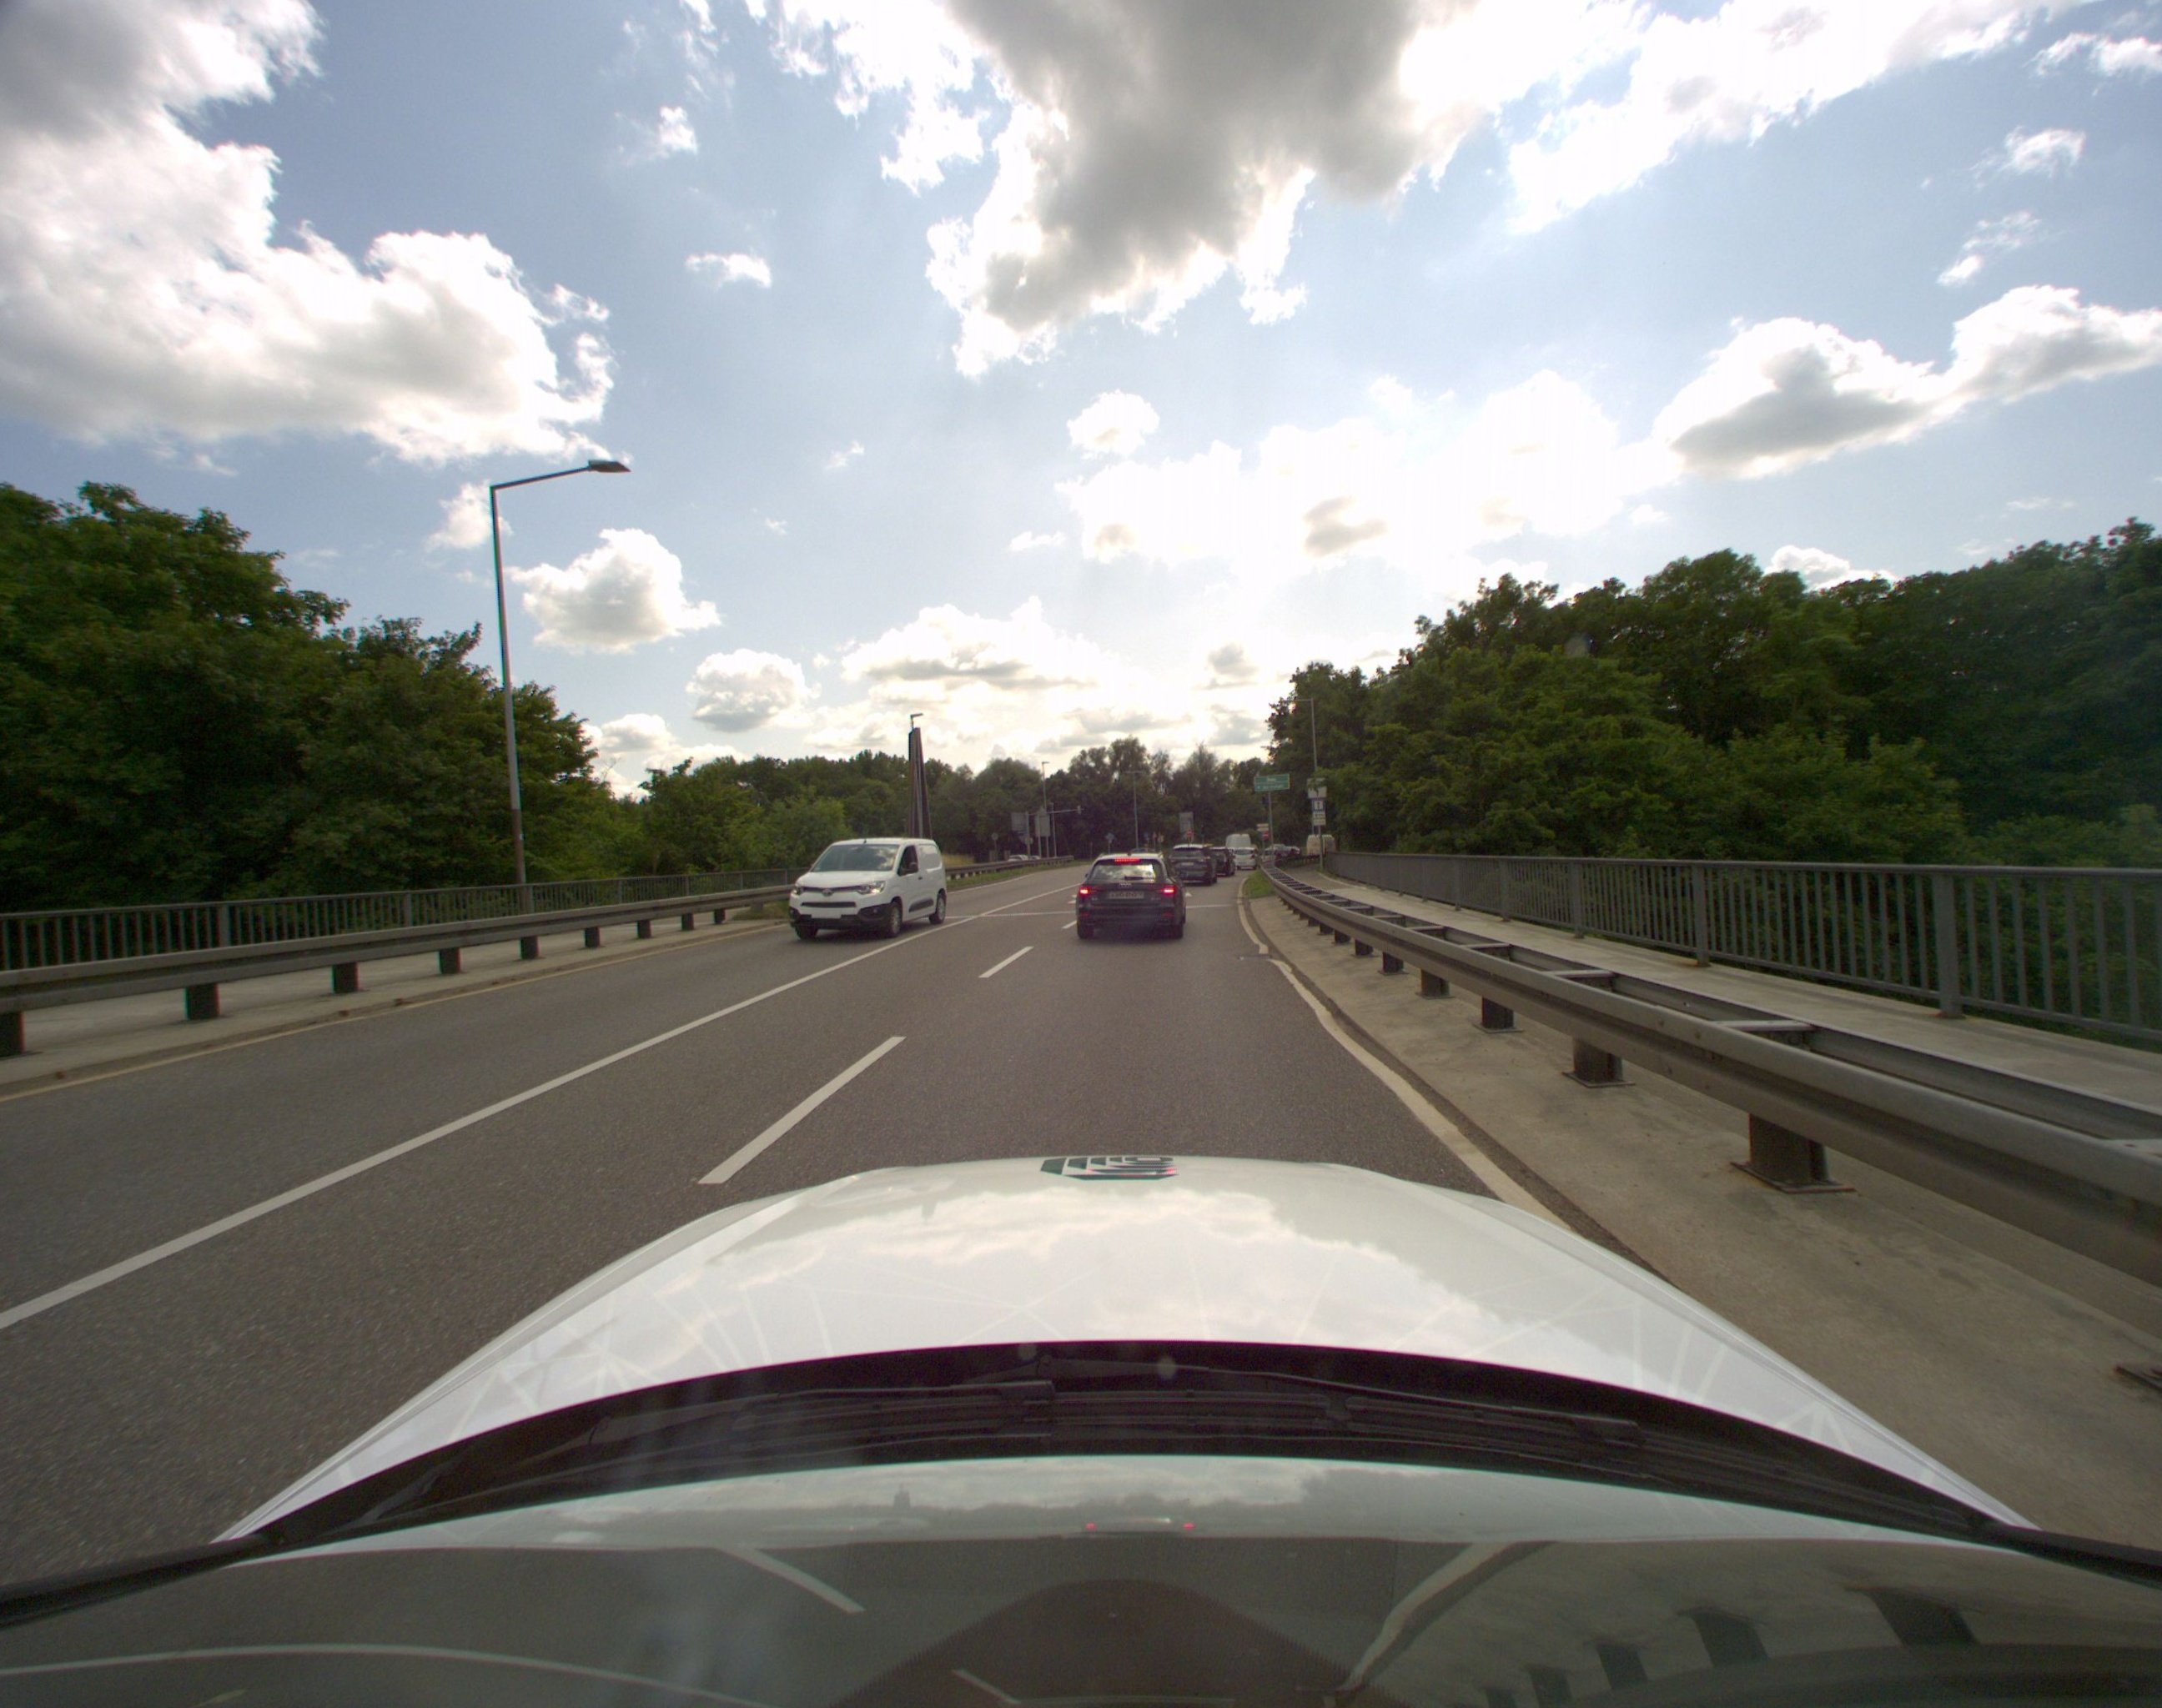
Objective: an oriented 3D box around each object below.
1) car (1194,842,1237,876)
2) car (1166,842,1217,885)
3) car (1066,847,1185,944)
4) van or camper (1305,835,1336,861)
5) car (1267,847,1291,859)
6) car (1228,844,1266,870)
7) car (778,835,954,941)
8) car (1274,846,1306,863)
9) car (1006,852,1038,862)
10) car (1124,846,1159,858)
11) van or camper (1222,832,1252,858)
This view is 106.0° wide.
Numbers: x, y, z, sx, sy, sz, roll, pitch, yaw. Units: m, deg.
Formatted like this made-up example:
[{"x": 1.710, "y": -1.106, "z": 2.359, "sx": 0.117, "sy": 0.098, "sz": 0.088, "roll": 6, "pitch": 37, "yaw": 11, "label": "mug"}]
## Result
[{"x": 7.133, "y": 0.230, "z": 42.947, "sx": 1.720, "sy": 1.651, "sz": 3.872, "roll": -1, "pitch": 0, "yaw": 16, "label": "car"}, {"x": 4.579, "y": 0.338, "z": 33.331, "sx": 1.809, "sy": 1.651, "sz": 3.868, "roll": -1, "pitch": 0, "yaw": 12, "label": "car"}, {"x": 0.960, "y": 0.637, "z": 14.879, "sx": 1.818, "sy": 1.491, "sz": 4.216, "roll": -1, "pitch": 0, "yaw": 7, "label": "car"}, {"x": 23.917, "y": -0.625, "z": 81.157, "sx": 1.974, "sy": 2.590, "sz": 4.116, "roll": 0, "pitch": 1, "yaw": 31, "label": "van or camper"}, {"x": 27.301, "y": -0.124, "z": 112.209, "sx": 1.974, "sy": 1.623, "sz": 4.025, "roll": 0, "pitch": 0, "yaw": 32, "label": "car"}, {"x": 11.159, "y": 0.186, "z": 54.559, "sx": 1.718, "sy": 1.651, "sz": 3.877, "roll": -1, "pitch": 0, "yaw": 23, "label": "car"}, {"x": -3.941, "y": 0.552, "z": 15.742, "sx": 1.804, "sy": 1.754, "sz": 4.313, "roll": -1, "pitch": 0, "yaw": 7, "label": "car"}, {"x": 17.678, "y": 0.038, "z": 68.903, "sx": 1.667, "sy": 1.398, "sz": 3.702, "roll": -2, "pitch": 0, "yaw": 30, "label": "car"}, {"x": -6.705, "y": 0.358, "z": 92.561, "sx": 3.545, "sy": 1.117, "sz": 1.604, "roll": 0, "pitch": 0, "yaw": 43, "label": "car"}, {"x": 7.126, "y": -0.195, "z": 95.685, "sx": 3.764, "sy": 1.371, "sz": 1.682, "roll": 0, "pitch": 2, "yaw": 25, "label": "car"}, {"x": 14.733, "y": -0.805, "z": 77.064, "sx": 2.262, "sy": 2.340, "sz": 5.248, "roll": 0, "pitch": 0, "yaw": 5, "label": "van or camper"}]
